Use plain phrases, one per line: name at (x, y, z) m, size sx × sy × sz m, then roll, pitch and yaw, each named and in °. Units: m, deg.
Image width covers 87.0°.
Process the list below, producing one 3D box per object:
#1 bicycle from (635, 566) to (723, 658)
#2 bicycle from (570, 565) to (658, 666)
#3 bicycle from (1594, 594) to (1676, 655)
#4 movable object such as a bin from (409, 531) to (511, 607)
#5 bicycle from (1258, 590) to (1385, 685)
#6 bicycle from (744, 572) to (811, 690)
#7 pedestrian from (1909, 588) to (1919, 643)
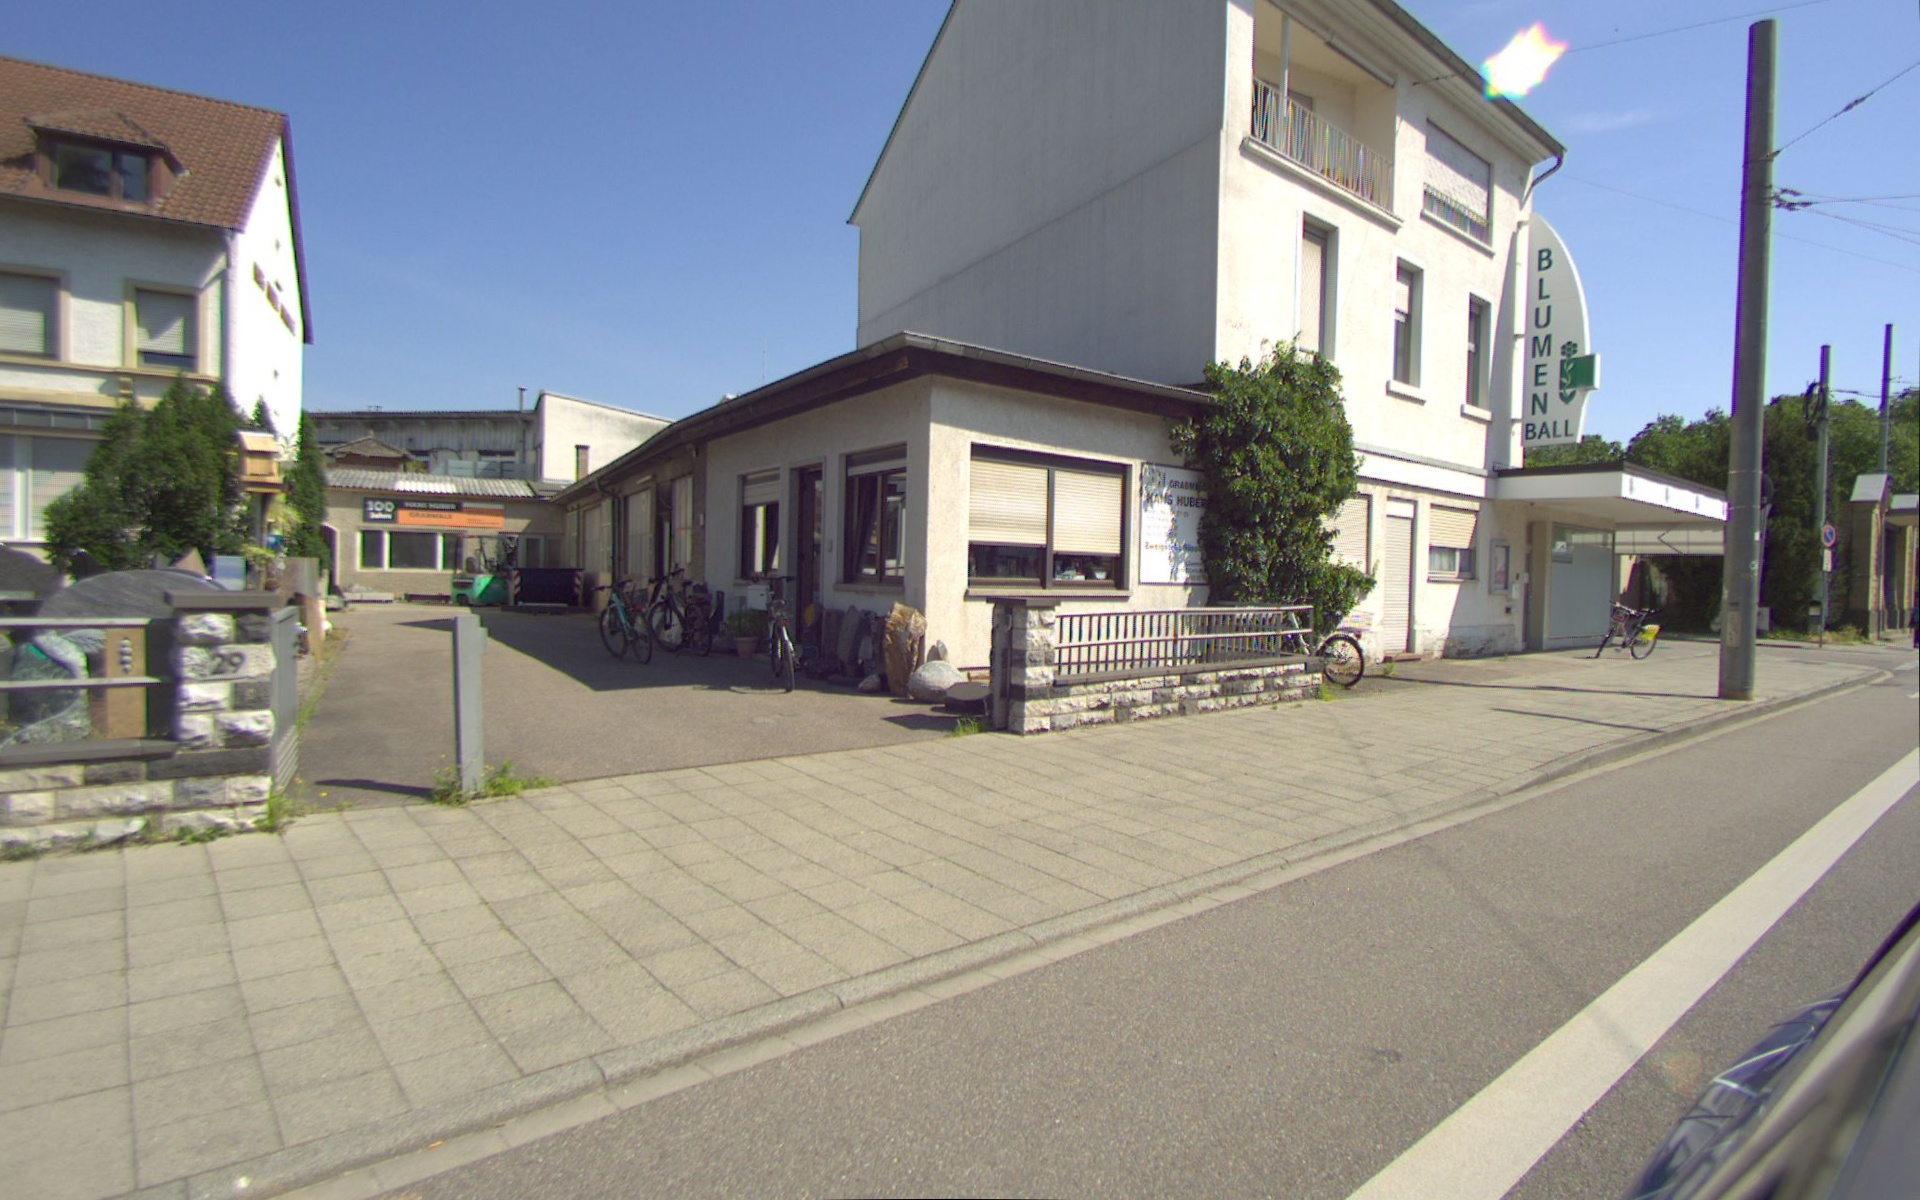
bicycle at (-3.837, 0.132, 13.740) m, size 0.503 × 1.124 × 1.690 m, roll 1°, pitch 2°, yaw -39°
bicycle at (-4.349, 0.160, 12.638) m, size 0.502 × 1.124 × 1.798 m, roll 1°, pitch 2°, yaw -36°
bicycle at (13.390, 0.478, 20.077) m, size 1.655 × 1.148 × 0.513 m, roll 1°, pitch 1°, yaw -24°
movable object such as a bin at (-14.519, -0.912, 29.460) m, size 1.460 × 2.103 × 2.274 m, roll 2°, pitch 2°, yaw 23°
bicycle at (4.718, 0.460, 13.288) m, size 0.390 × 1.069 × 1.531 m, roll 0°, pitch 5°, yaw -39°
bicycle at (-1.976, 0.287, 10.799) m, size 0.503 × 1.124 × 1.695 m, roll 2°, pitch 2°, yaw -16°
pedestrian at (29.344, 0.485, 30.777) m, size 0.490 × 1.646 × 0.500 m, roll 1°, pitch 3°, yaw -33°
